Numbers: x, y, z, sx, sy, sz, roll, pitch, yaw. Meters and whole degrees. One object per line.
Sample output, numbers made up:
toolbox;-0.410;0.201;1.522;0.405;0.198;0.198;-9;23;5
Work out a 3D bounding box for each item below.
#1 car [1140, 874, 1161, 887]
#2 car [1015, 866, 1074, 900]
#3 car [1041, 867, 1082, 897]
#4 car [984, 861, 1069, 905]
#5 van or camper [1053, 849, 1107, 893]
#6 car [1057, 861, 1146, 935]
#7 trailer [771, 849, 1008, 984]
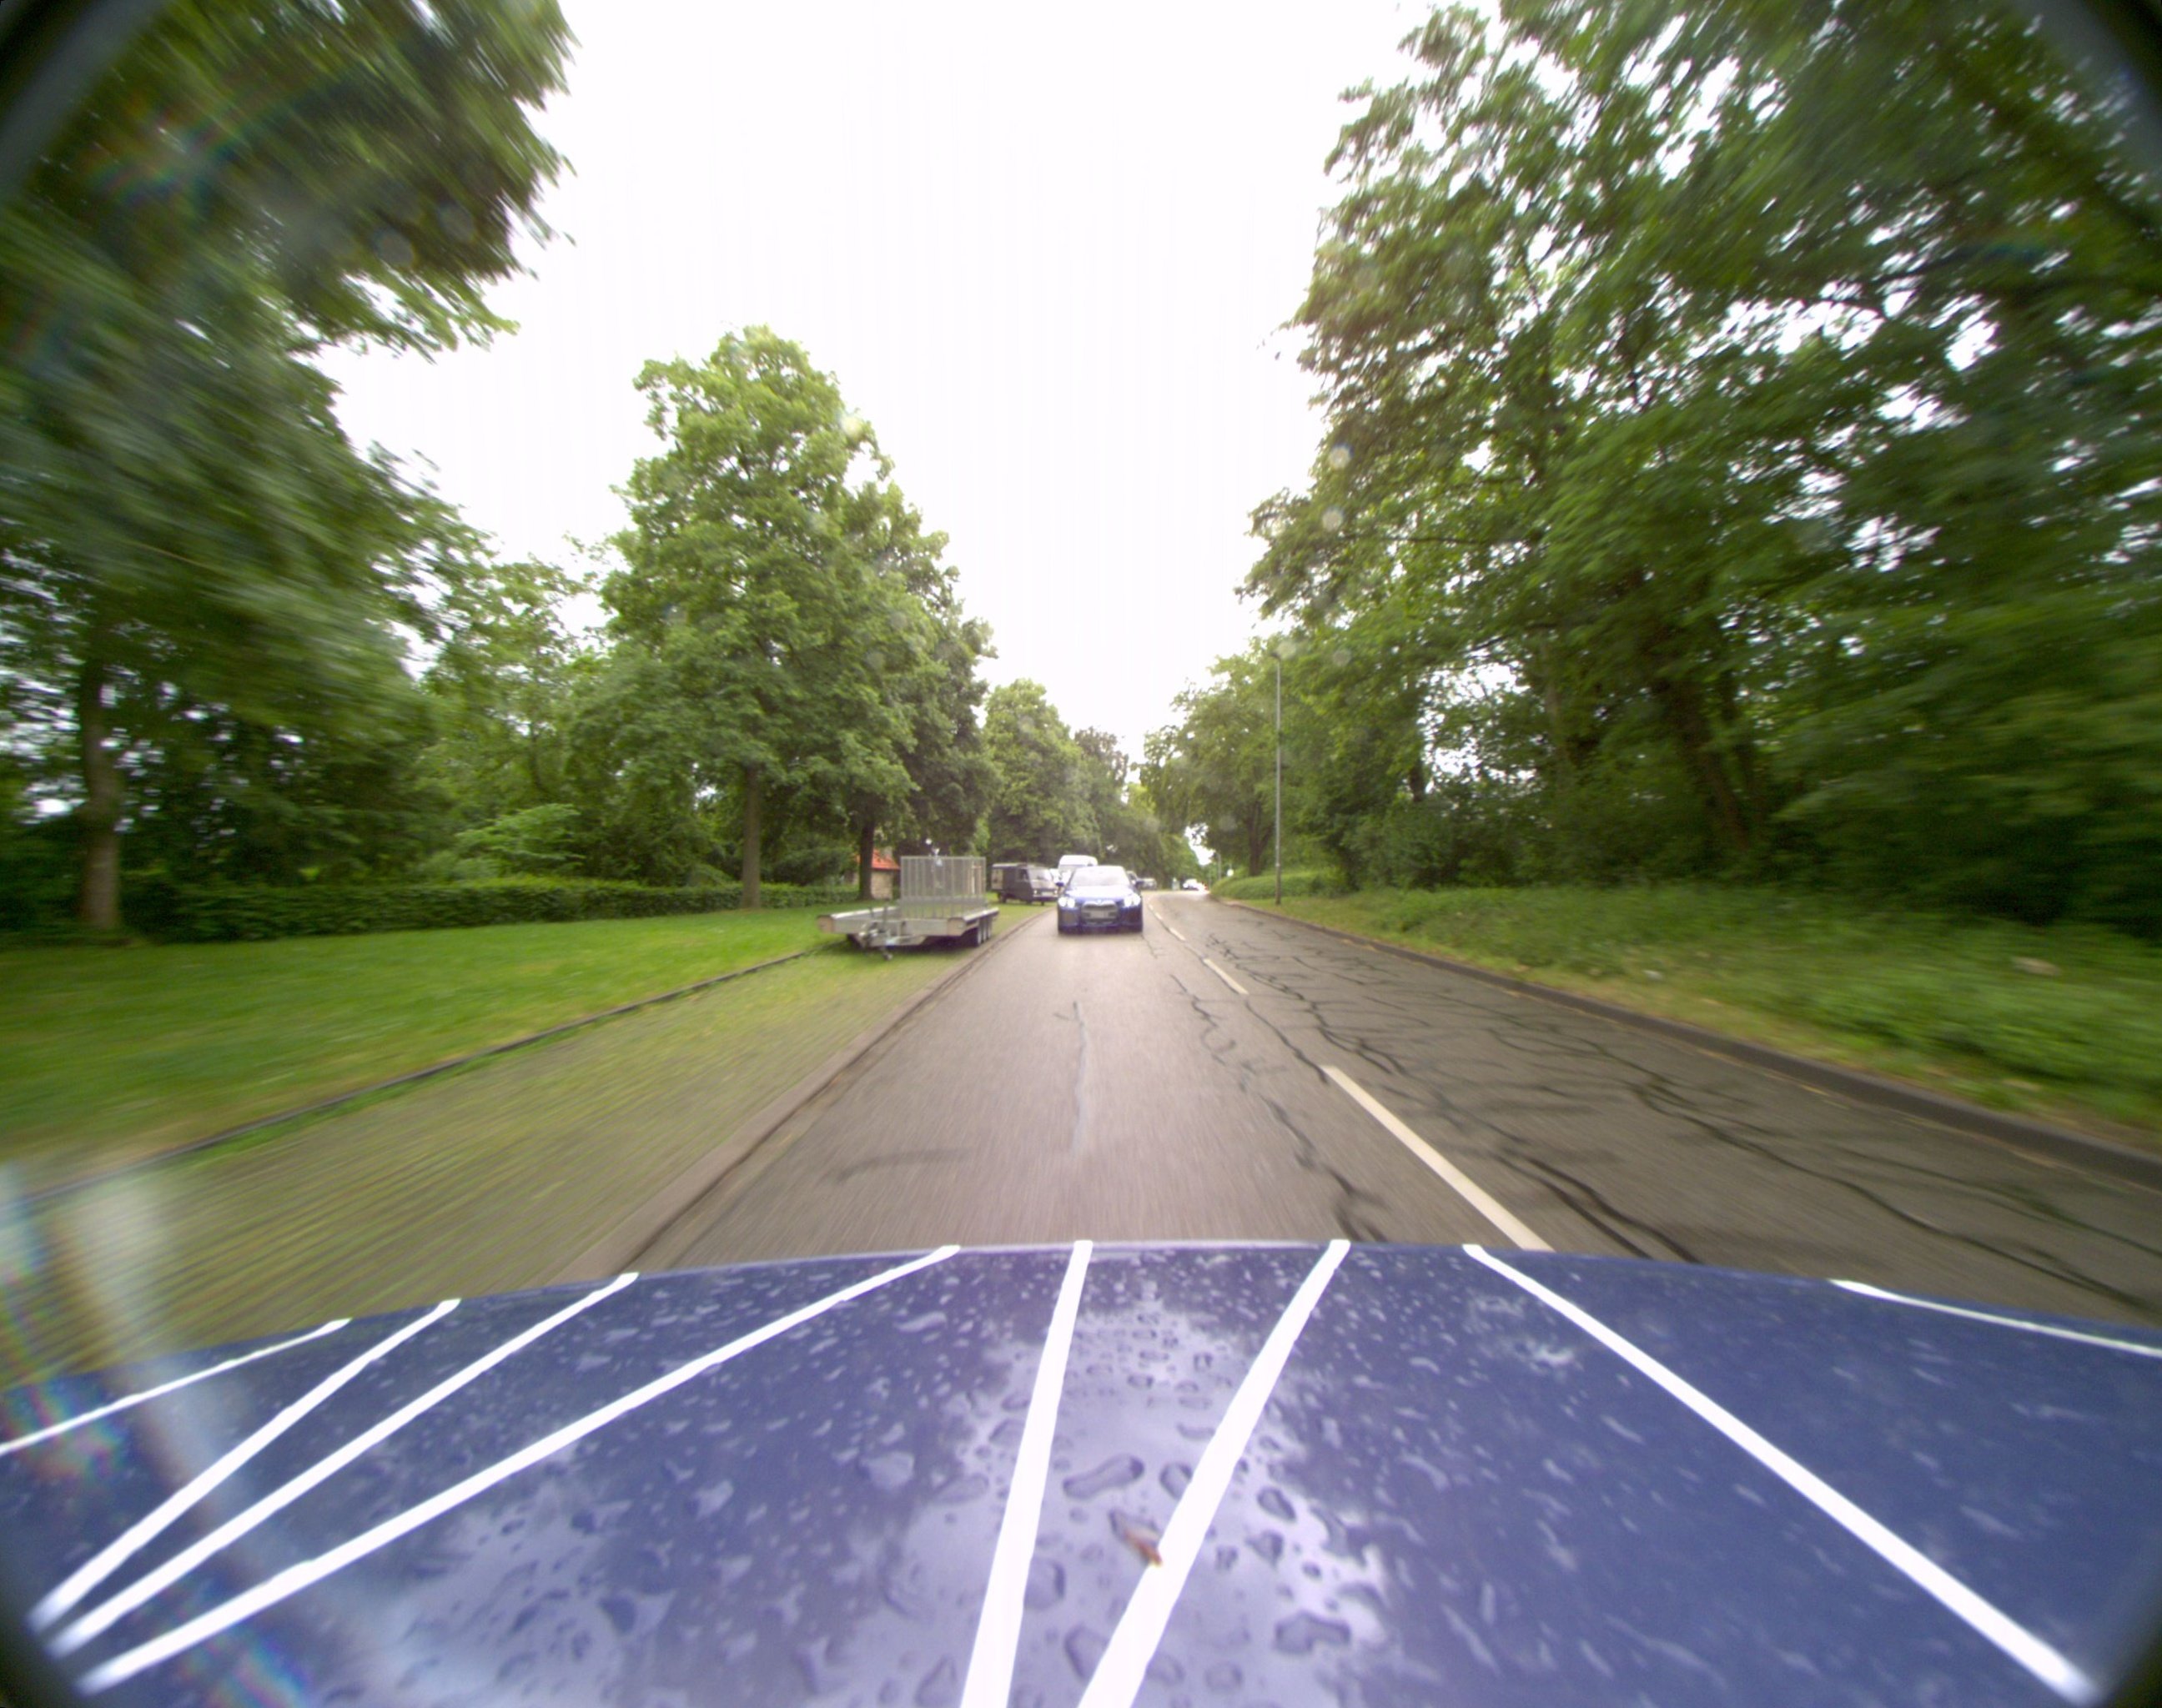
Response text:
car;7.934;3.039;86.737;1.703;1.452;4.223;1;-2;14
car;-1.645;1.363;35.872;1.997;1.488;4.571;0;-2;7
car;-1.027;1.547;41.698;1.809;1.529;4.270;1;-2;4
car;-2.300;1.145;31.195;1.615;1.671;3.996;1;0;-36
van or camper;0.088;1.180;49.475;2.019;2.566;8.446;-2;-3;10
car;0.360;1.023;17.689;1.839;1.501;4.002;0;-3;-2
trailer;-2.871;0.837;13.168;2.455;1.802;5.892;0;0;2
